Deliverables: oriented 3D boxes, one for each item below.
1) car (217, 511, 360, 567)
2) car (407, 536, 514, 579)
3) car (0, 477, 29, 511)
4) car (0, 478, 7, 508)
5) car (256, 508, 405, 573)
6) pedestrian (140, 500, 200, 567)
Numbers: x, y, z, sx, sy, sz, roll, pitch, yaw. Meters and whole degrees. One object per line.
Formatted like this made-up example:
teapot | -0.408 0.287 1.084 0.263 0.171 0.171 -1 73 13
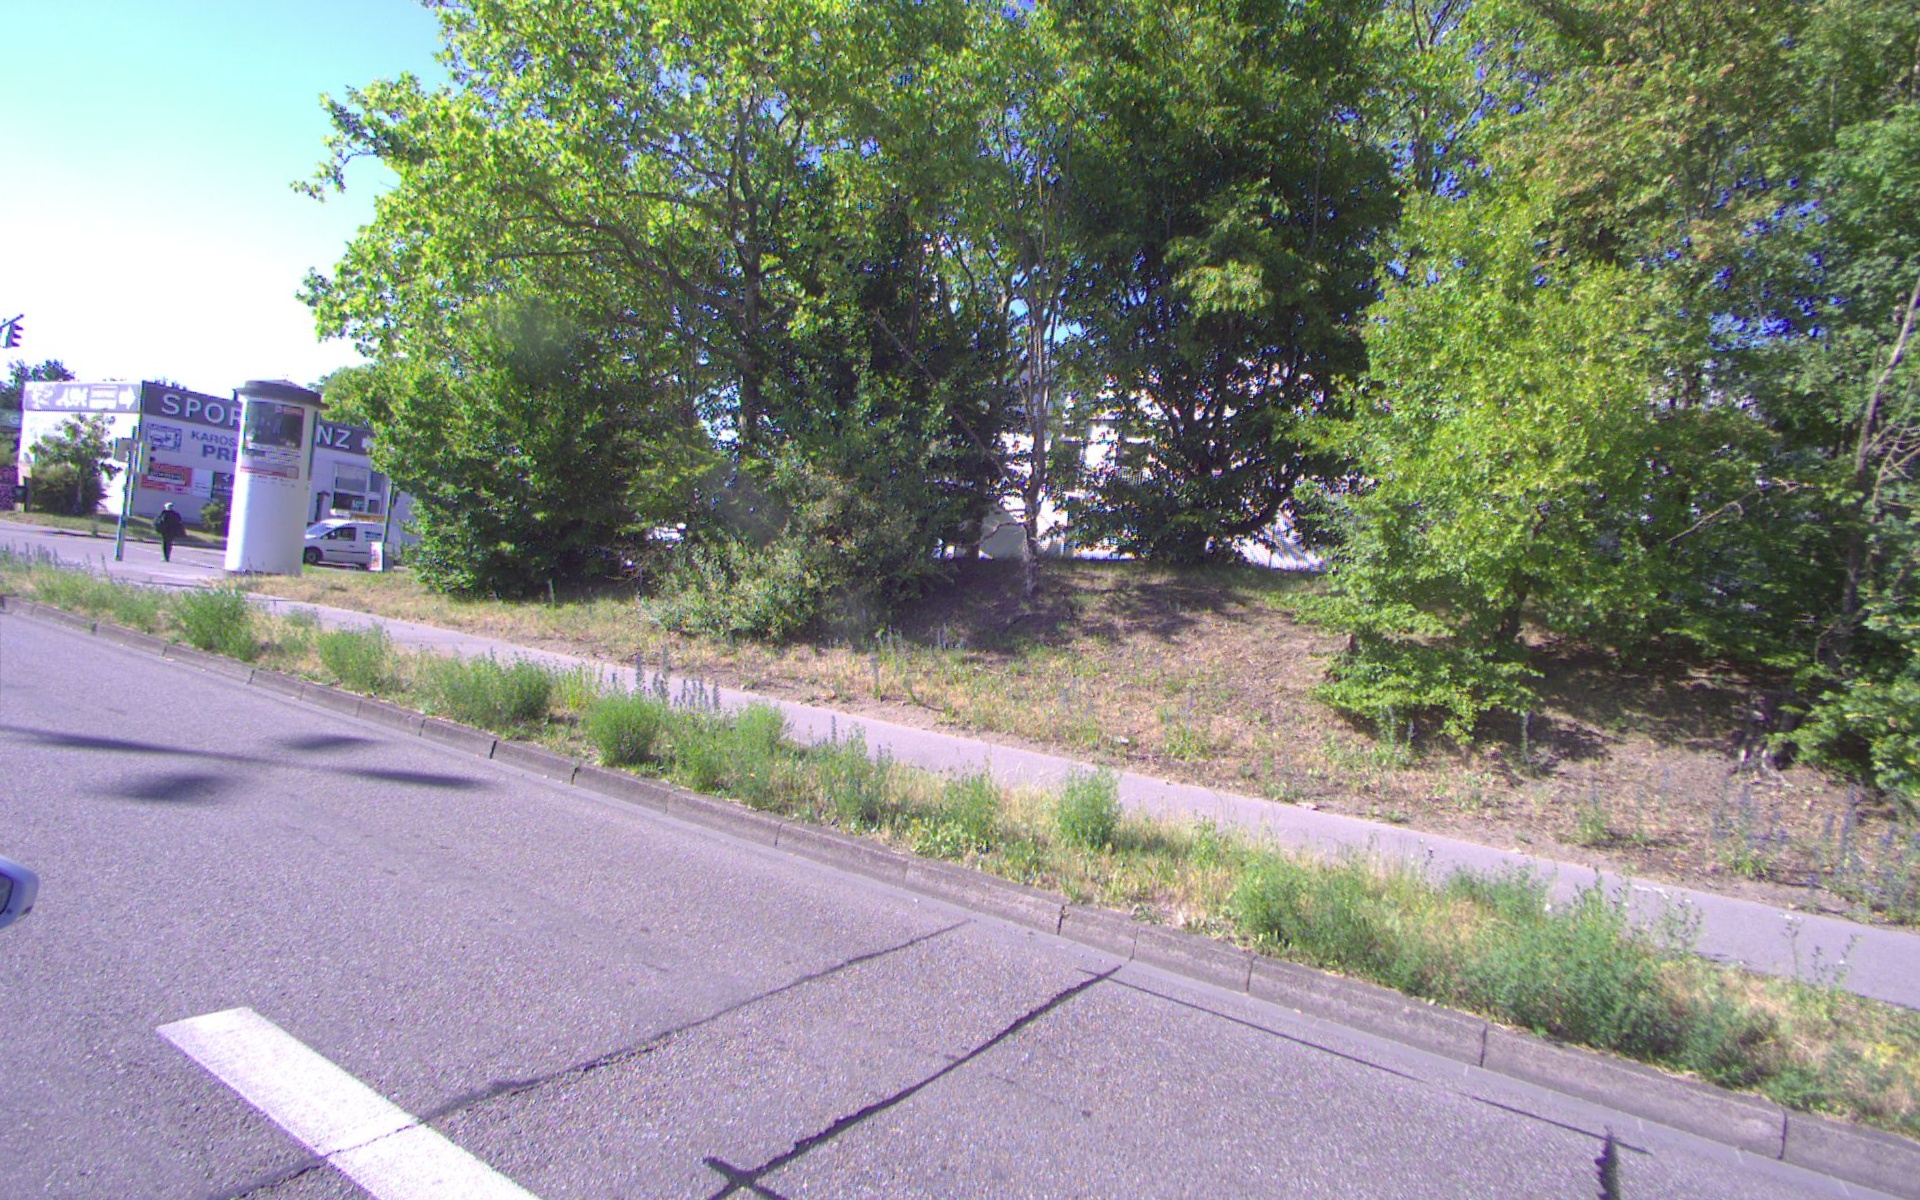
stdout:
car | -26.610 -2.380 40.014 1.735 1.568 4.292 9 1 30
car | -22.983 -1.946 46.407 1.752 1.509 4.045 7 1 30
car | -46.878 -5.225 47.095 1.828 1.472 4.490 7 1 33
car | -49.229 -5.491 48.465 1.828 1.472 4.490 7 1 33
car | -23.834 -2.204 38.265 1.735 1.824 4.387 9 1 30
pedestrian | -22.863 -1.913 29.118 0.923 1.755 0.927 6 -1 31
